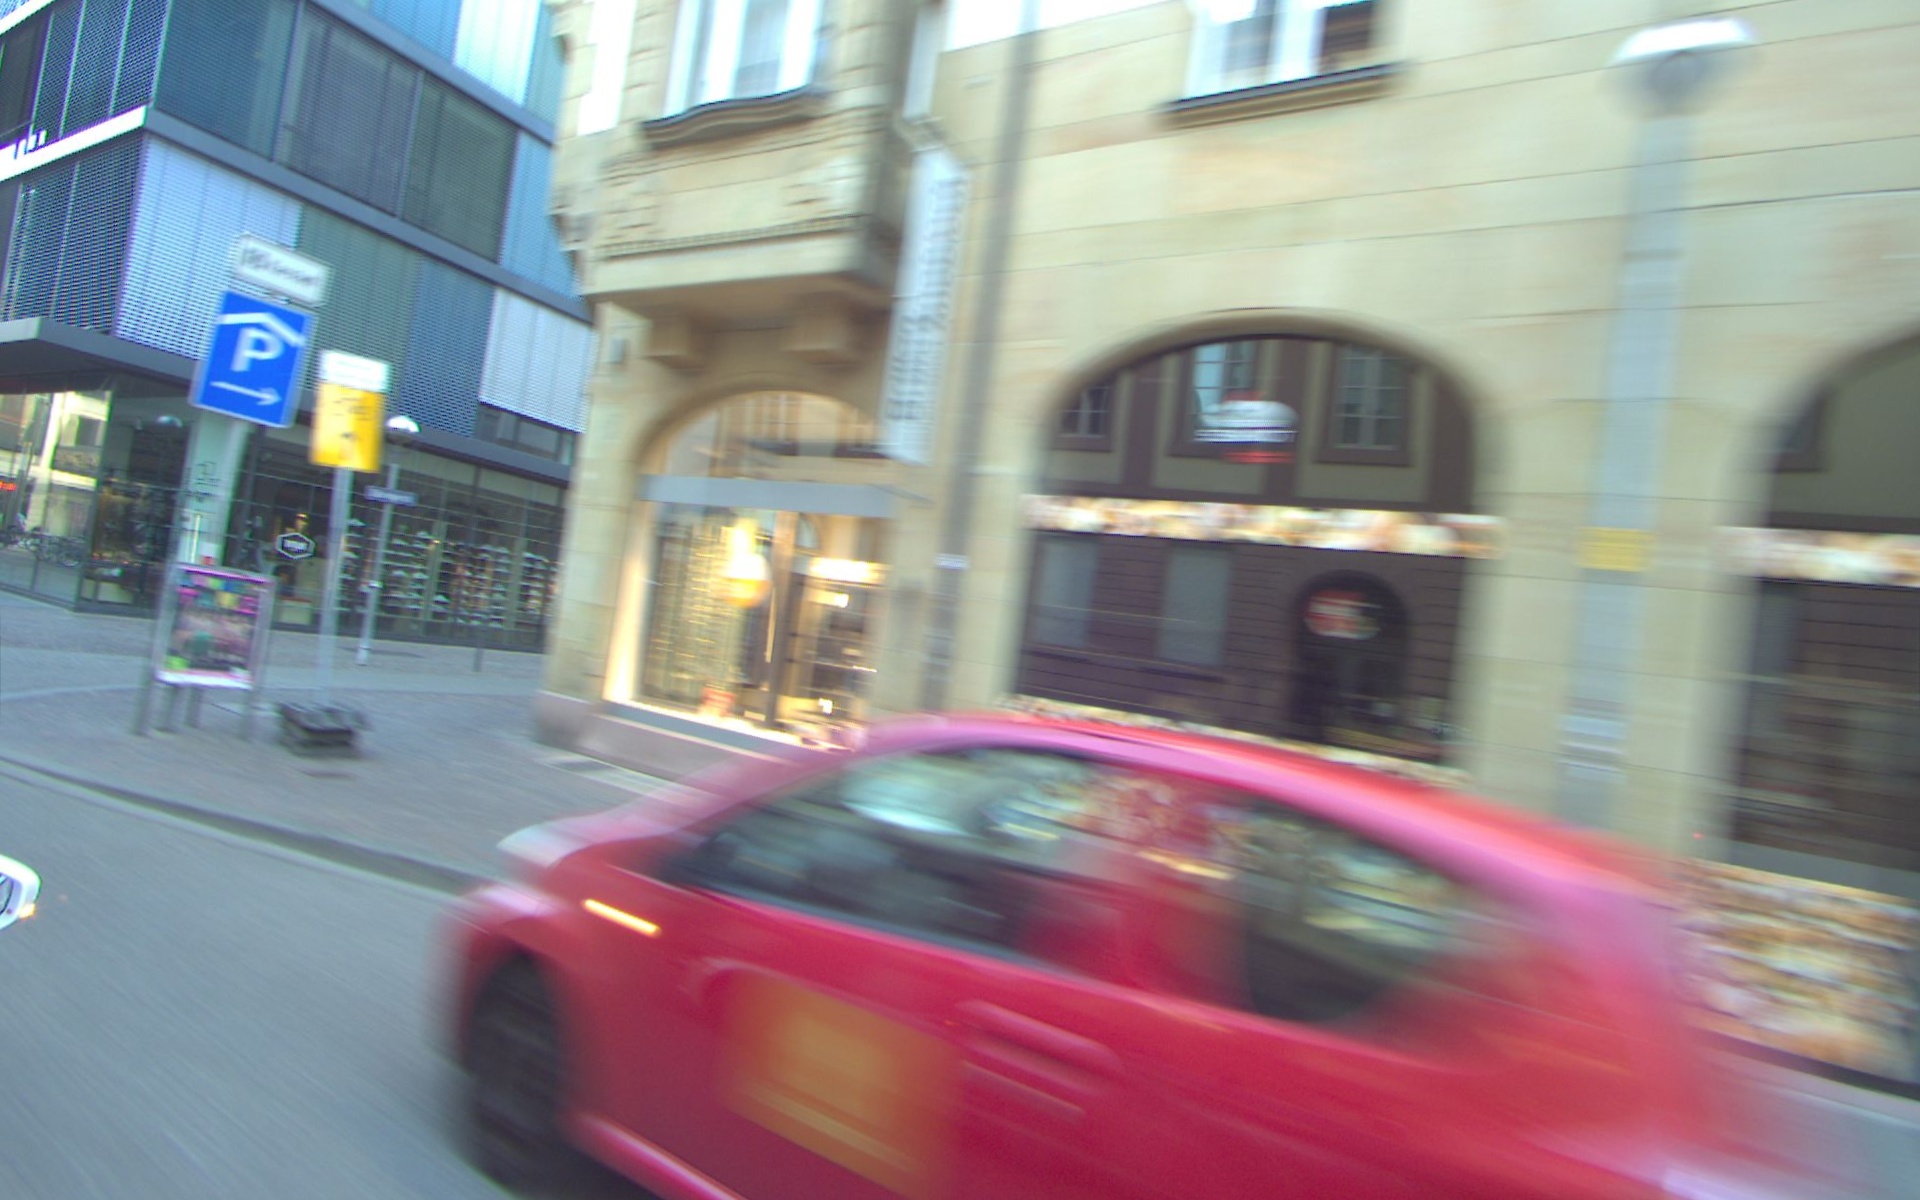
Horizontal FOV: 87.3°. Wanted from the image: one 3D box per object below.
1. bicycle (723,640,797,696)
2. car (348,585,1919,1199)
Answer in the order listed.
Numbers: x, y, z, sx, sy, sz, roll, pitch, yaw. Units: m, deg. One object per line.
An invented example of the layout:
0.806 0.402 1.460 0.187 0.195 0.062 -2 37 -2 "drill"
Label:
-4.572 1.587 23.120 0.404 1.145 1.931 7 -3 28 "bicycle"
0.216 0.974 2.711 3.539 1.438 1.621 6 -7 33 "car"
